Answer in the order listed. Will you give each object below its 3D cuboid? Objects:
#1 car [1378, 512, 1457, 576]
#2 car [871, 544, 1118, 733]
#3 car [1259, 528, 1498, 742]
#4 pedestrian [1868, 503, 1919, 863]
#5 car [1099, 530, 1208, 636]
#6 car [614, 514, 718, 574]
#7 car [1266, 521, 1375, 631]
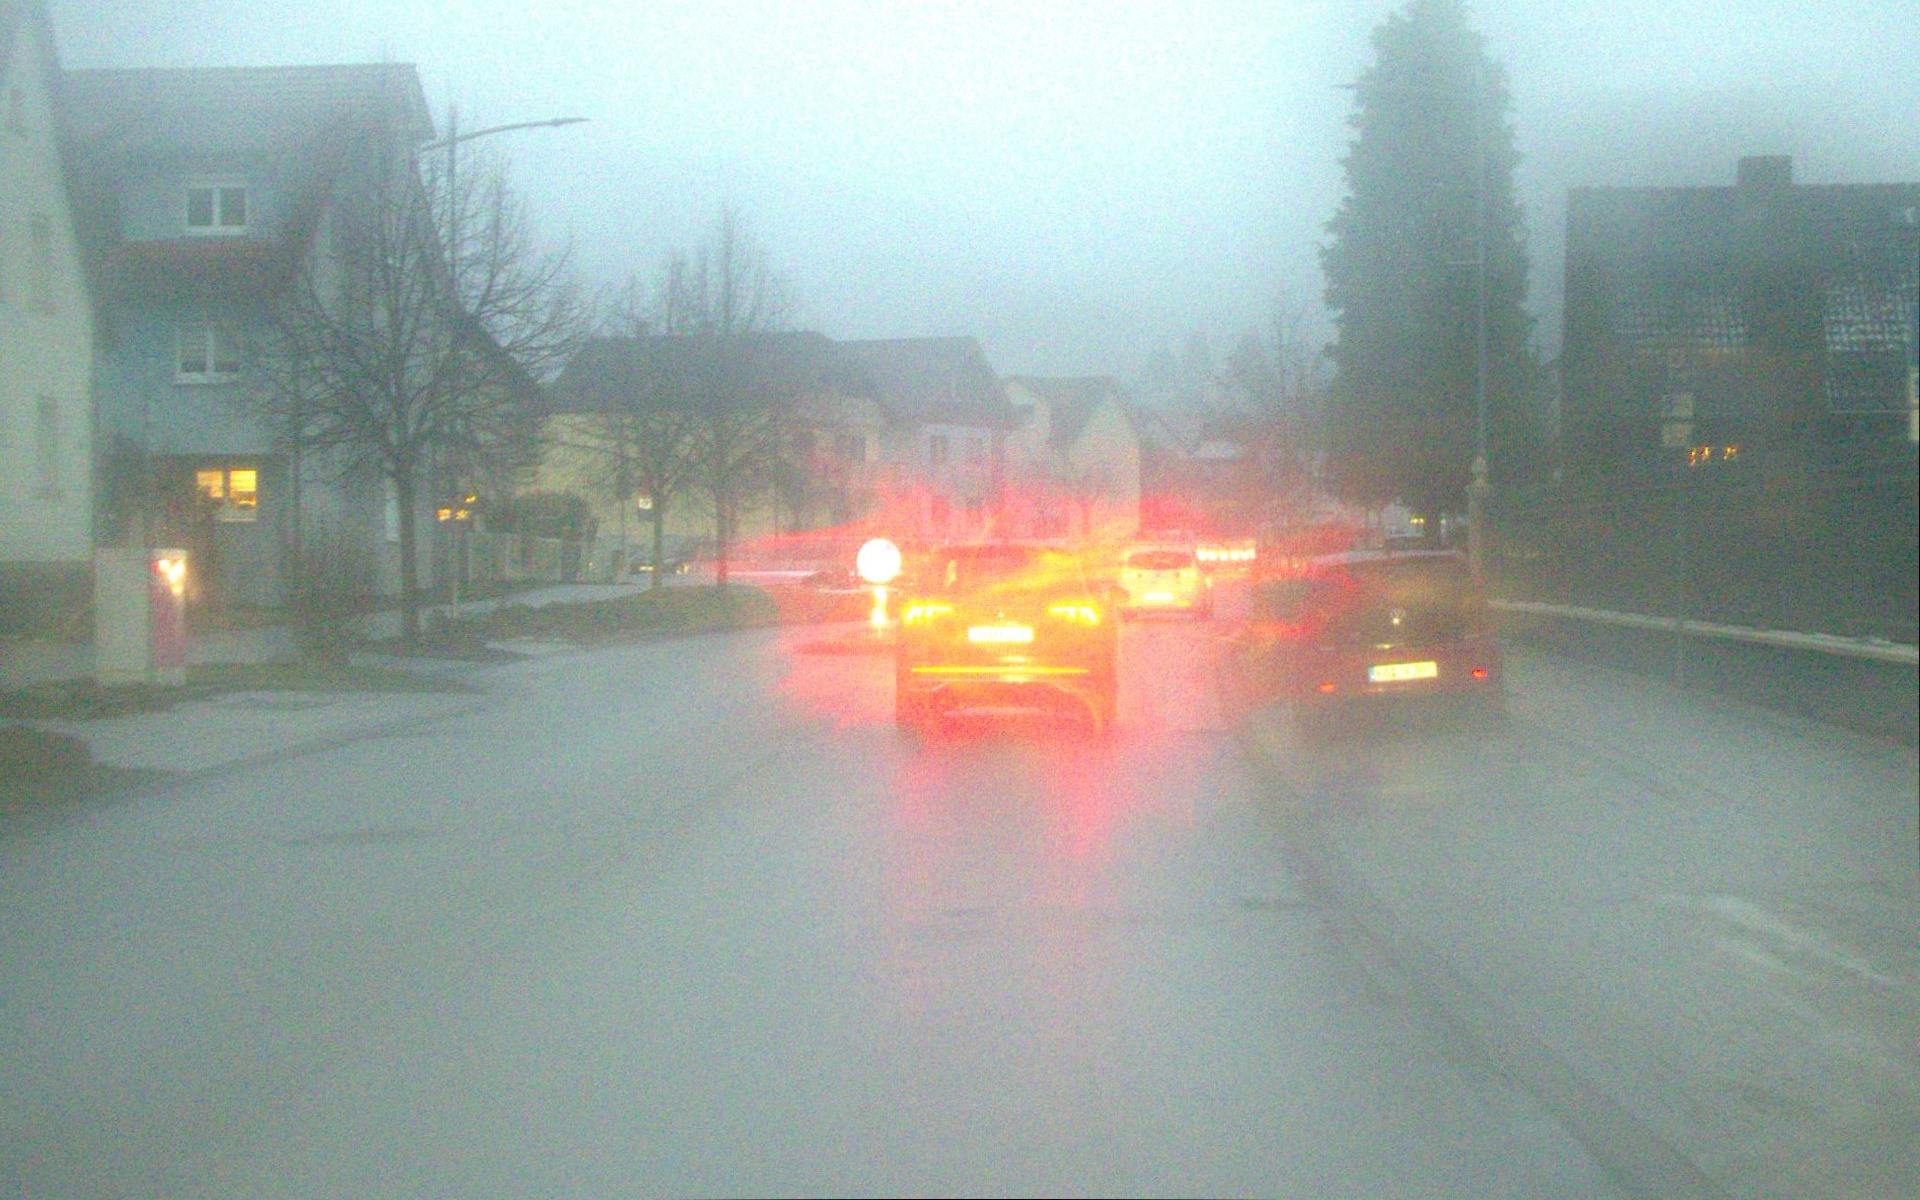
[{"bbox_3d":[13.607,-1.687,102.013,1.746,1.779,4.333,-2,1,15],"label":"car"},{"bbox_3d":[0.298,0.278,29.918,1.993,1.520,4.000,0,1,0],"label":"car"},{"bbox_3d":[3.359,0.250,28.095,1.649,1.535,3.390,-4,0,4],"label":"car"},{"bbox_3d":[5.115,0.377,16.960,0.987,1.736,1.056,-2,1,3],"label":"pedestrian"},{"bbox_3d":[3.798,-0.339,67.992,1.993,2.007,4.000,1,0,1],"label":"car"},{"bbox_3d":[-10.266,-1.981,120.312,1.996,2.006,3.996,2,2,22],"label":"car"},{"bbox_3d":[7.158,-0.520,68.061,1.978,2.007,5.744,-2,1,6],"label":"car"}]
